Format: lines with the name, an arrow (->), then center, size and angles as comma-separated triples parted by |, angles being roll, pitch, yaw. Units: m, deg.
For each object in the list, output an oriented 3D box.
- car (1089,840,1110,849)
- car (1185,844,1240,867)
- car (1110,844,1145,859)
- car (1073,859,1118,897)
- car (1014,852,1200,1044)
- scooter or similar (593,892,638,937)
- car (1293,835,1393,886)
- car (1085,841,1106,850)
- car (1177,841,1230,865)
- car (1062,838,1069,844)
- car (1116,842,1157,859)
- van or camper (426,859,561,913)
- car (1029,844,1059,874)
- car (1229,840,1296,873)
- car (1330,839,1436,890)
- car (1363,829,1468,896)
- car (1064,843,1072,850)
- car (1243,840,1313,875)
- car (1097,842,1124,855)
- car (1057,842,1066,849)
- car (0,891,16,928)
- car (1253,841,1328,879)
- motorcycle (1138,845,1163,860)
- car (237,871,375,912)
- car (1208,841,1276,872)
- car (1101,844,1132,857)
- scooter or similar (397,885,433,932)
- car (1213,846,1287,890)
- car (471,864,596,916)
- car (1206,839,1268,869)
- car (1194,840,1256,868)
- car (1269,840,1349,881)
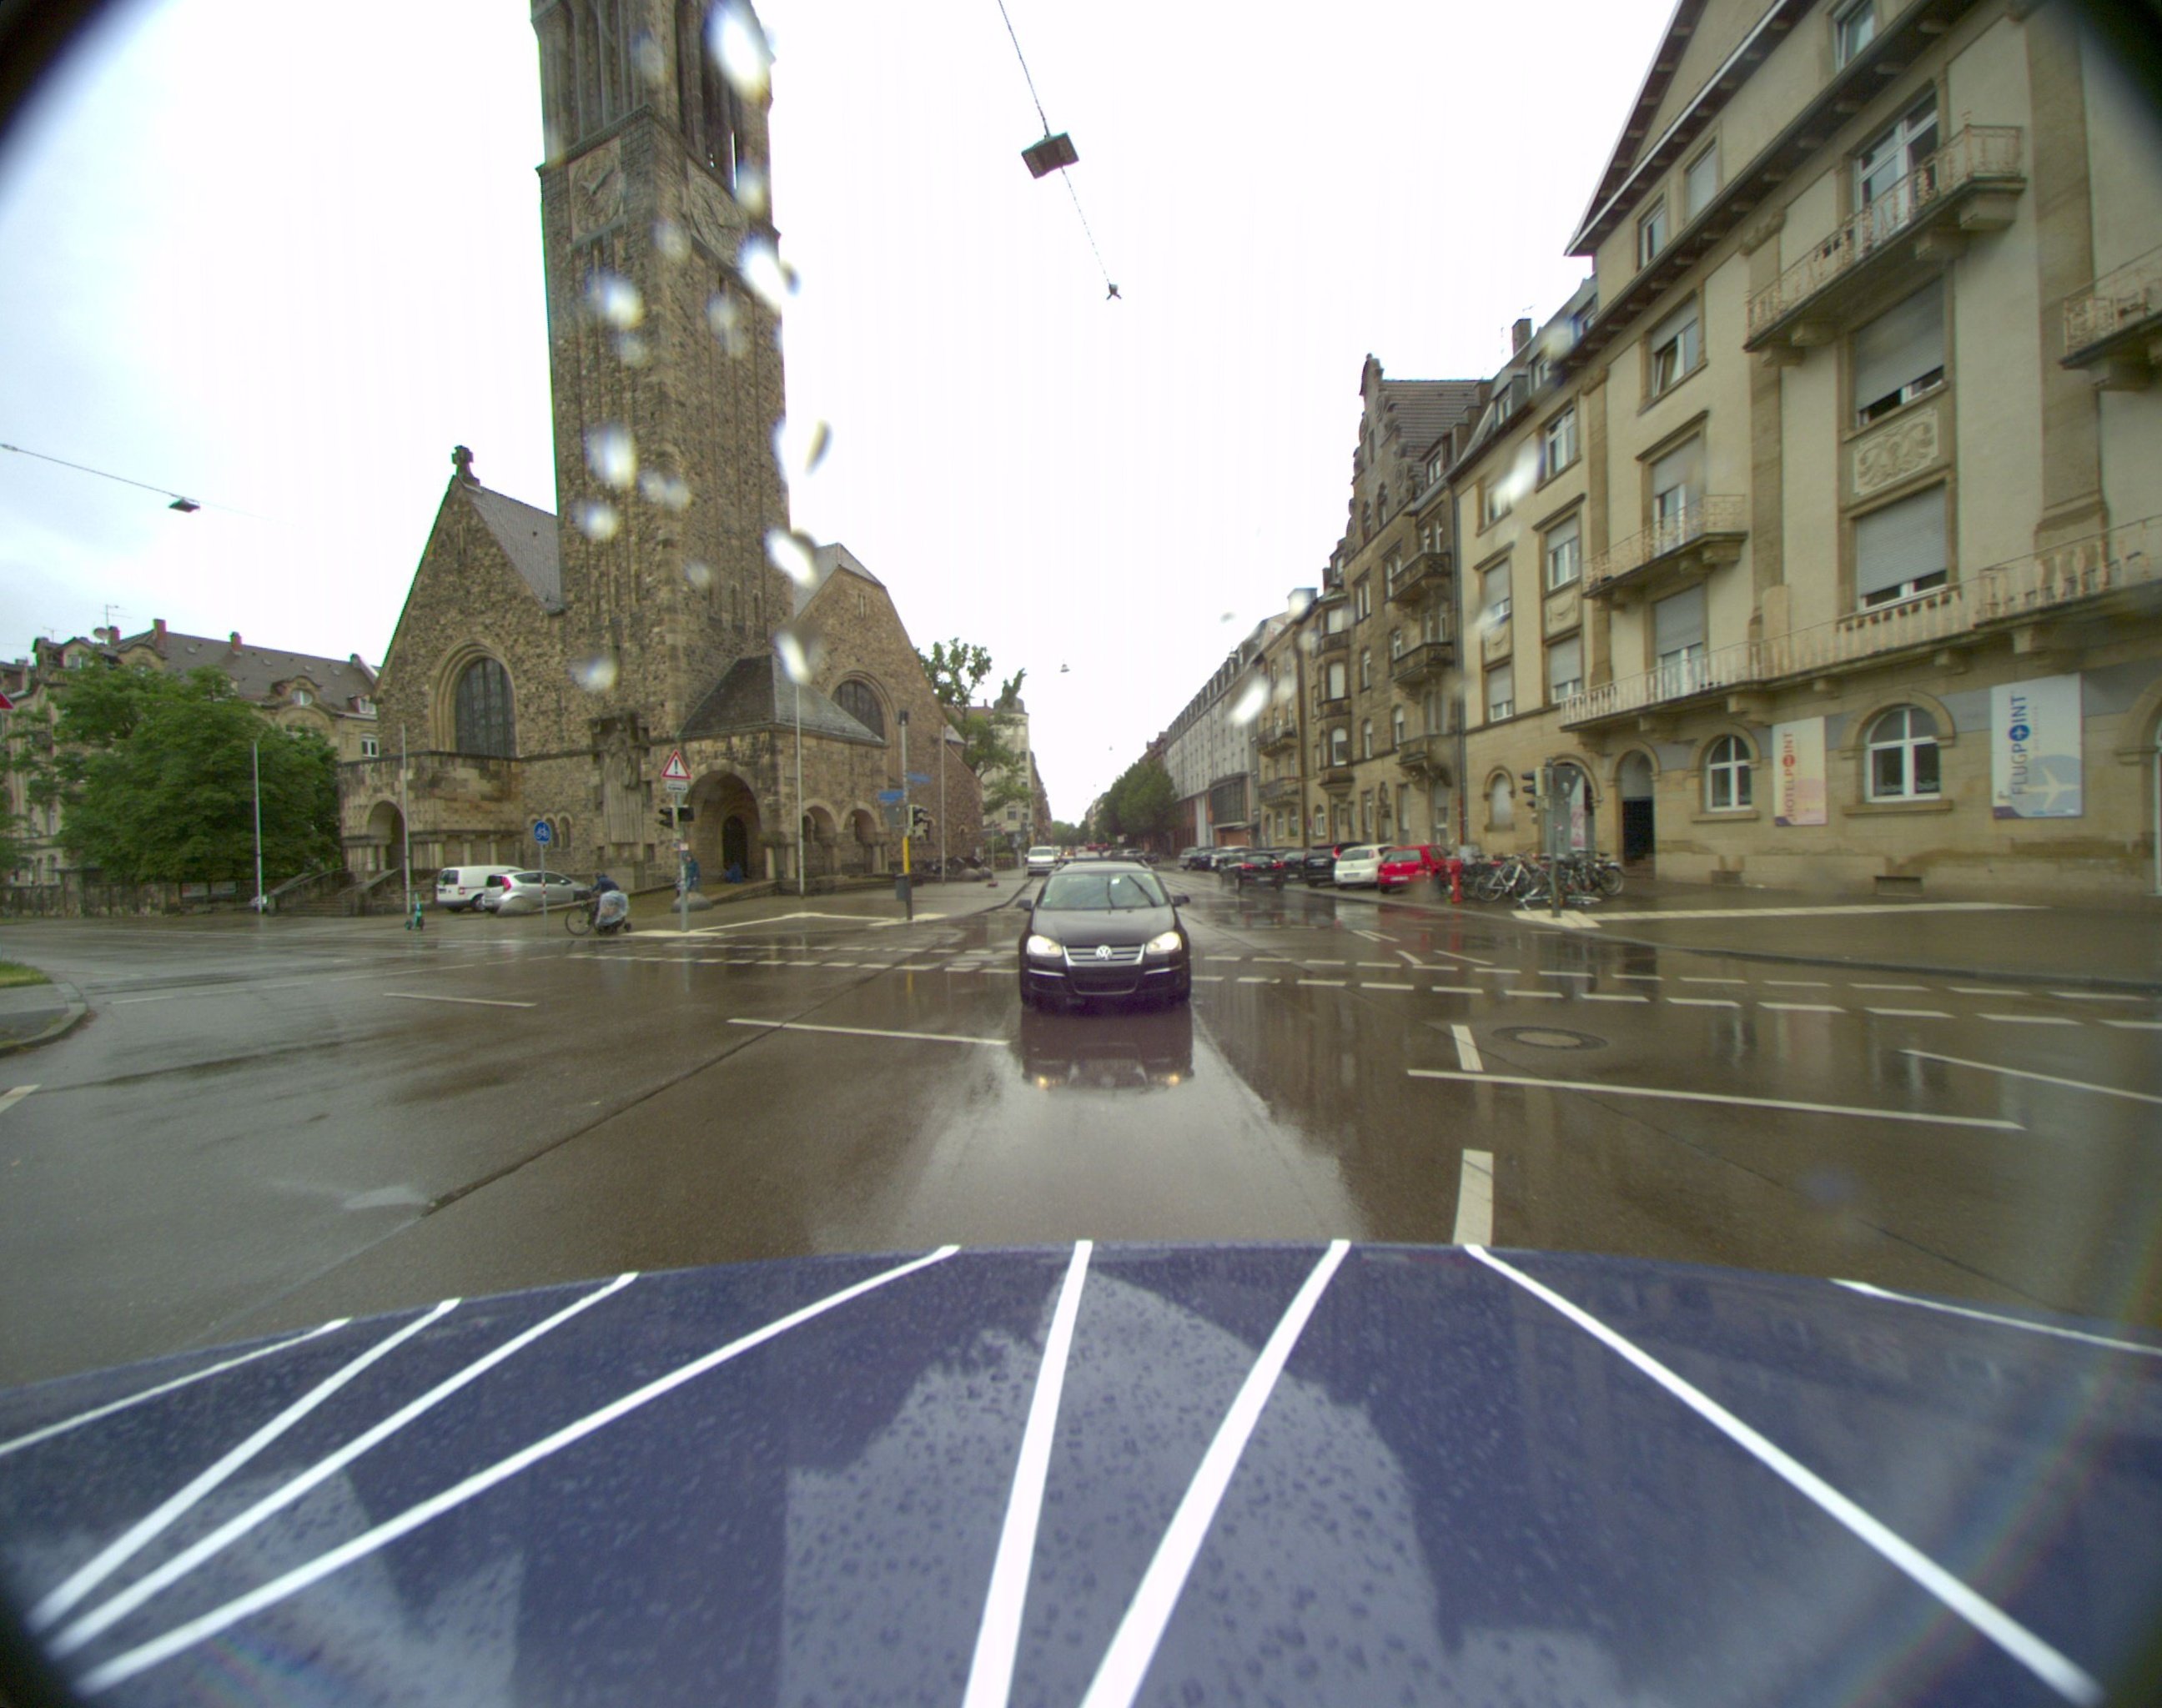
car -> 3.724, -1.969, 152.529 | 3.809, 1.705, 1.995 | -2, 1, -34
car -> 9.307, 0.103, 53.675 | 3.734, 1.519, 1.713 | -2, 1, -36
car -> 5.536, -0.347, 91.553 | 3.803, 1.705, 1.998 | -2, 1, -11
car -> 0.503, 0.869, 28.674 | 1.547, 1.214, 3.607 | -1, 1, -1
car -> 0.194, 0.793, 8.504 | 1.547, 1.554, 4.069 | -1, 1, -1
scooter or similar -> -11.748, 1.515, 19.205 | 0.514, 1.042, 0.924 | -2, 1, 2
car -> 10.265, 0.231, 29.662 | 4.092, 1.682, 1.760 | -5, 1, -40
car -> 2.724, -1.610, 142.078 | 3.799, 1.705, 2.000 | -1, 1, 0
car -> 9.156, -0.082, 56.750 | 3.930, 1.720, 1.811 | -2, 1, -42
car -> -4.713, -3.982, 227.696 | 1.838, 1.827, 4.000 | -1, 1, 3
car -> 6.086, -0.375, 83.772 | 4.005, 1.804, 1.995 | -2, 1, -27
van or camper -> -23.912, 1.265, 31.118 | 1.645, 1.719, 3.933 | -1, 5, 23
car -> -2.545, 0.316, 53.465 | 1.909, 1.912, 5.271 | -1, 1, -1
car -> 10.041, 0.124, 41.985 | 3.765, 1.535, 1.624 | -5, 1, -41
car -> 10.717, 0.357, 26.852 | 4.001, 1.525, 1.700 | -4, 1, -40
car -> 10.695, 0.230, 24.155 | 1.799, 1.499, 4.005 | -8, 1, 41
car -> -3.519, -2.075, 204.718 | 1.998, 1.705, 4.375 | -1, 1, 3
car -> 10.149, 0.179, 39.111 | 3.449, 1.535, 1.624 | -5, 1, -37
car -> 4.819, -0.974, 124.805 | 4.006, 2.002, 1.995 | -2, 1, -29
car -> -4.725, -2.119, 183.239 | 1.998, 1.705, 3.802 | -1, 1, 3
car -> -55.462, 2.814, 37.676 | 3.991, 1.784, 1.983 | -2, 1, 20
car -> 9.947, 0.260, 36.042 | 3.435, 1.535, 1.697 | -5, 1, -40
motorcycle -> 6.718, -0.120, 73.692 | 2.255, 1.302, 0.758 | -4, 1, -1
car -> -36.299, 1.708, 35.705 | 1.995, 1.609, 4.005 | -2, 1, 23
car -> 9.549, 0.118, 44.970 | 3.733, 1.535, 1.774 | -5, 1, -36
car -> 4.893, -0.513, 104.432 | 3.803, 1.705, 1.998 | -2, 1, -11
scooter or similar -> -20.156, 1.653, 22.990 | 1.101, 1.379, 0.287 | -2, 1, 22
car -> 6.389, 0.486, 29.117 | 1.748, 1.538, 3.777 | -2, 1, -3
car -> -21.051, 1.344, 29.339 | 1.732, 1.566, 3.362 | -2, 4, 25
car -> 9.917, -0.024, 48.235 | 3.733, 1.617, 1.774 | -5, 1, -39
car -> 9.677, -0.025, 51.045 | 3.732, 1.519, 1.897 | -6, 3, -32
car -> 9.901, 0.274, 32.919 | 3.316, 1.516, 1.697 | -5, 1, -39
